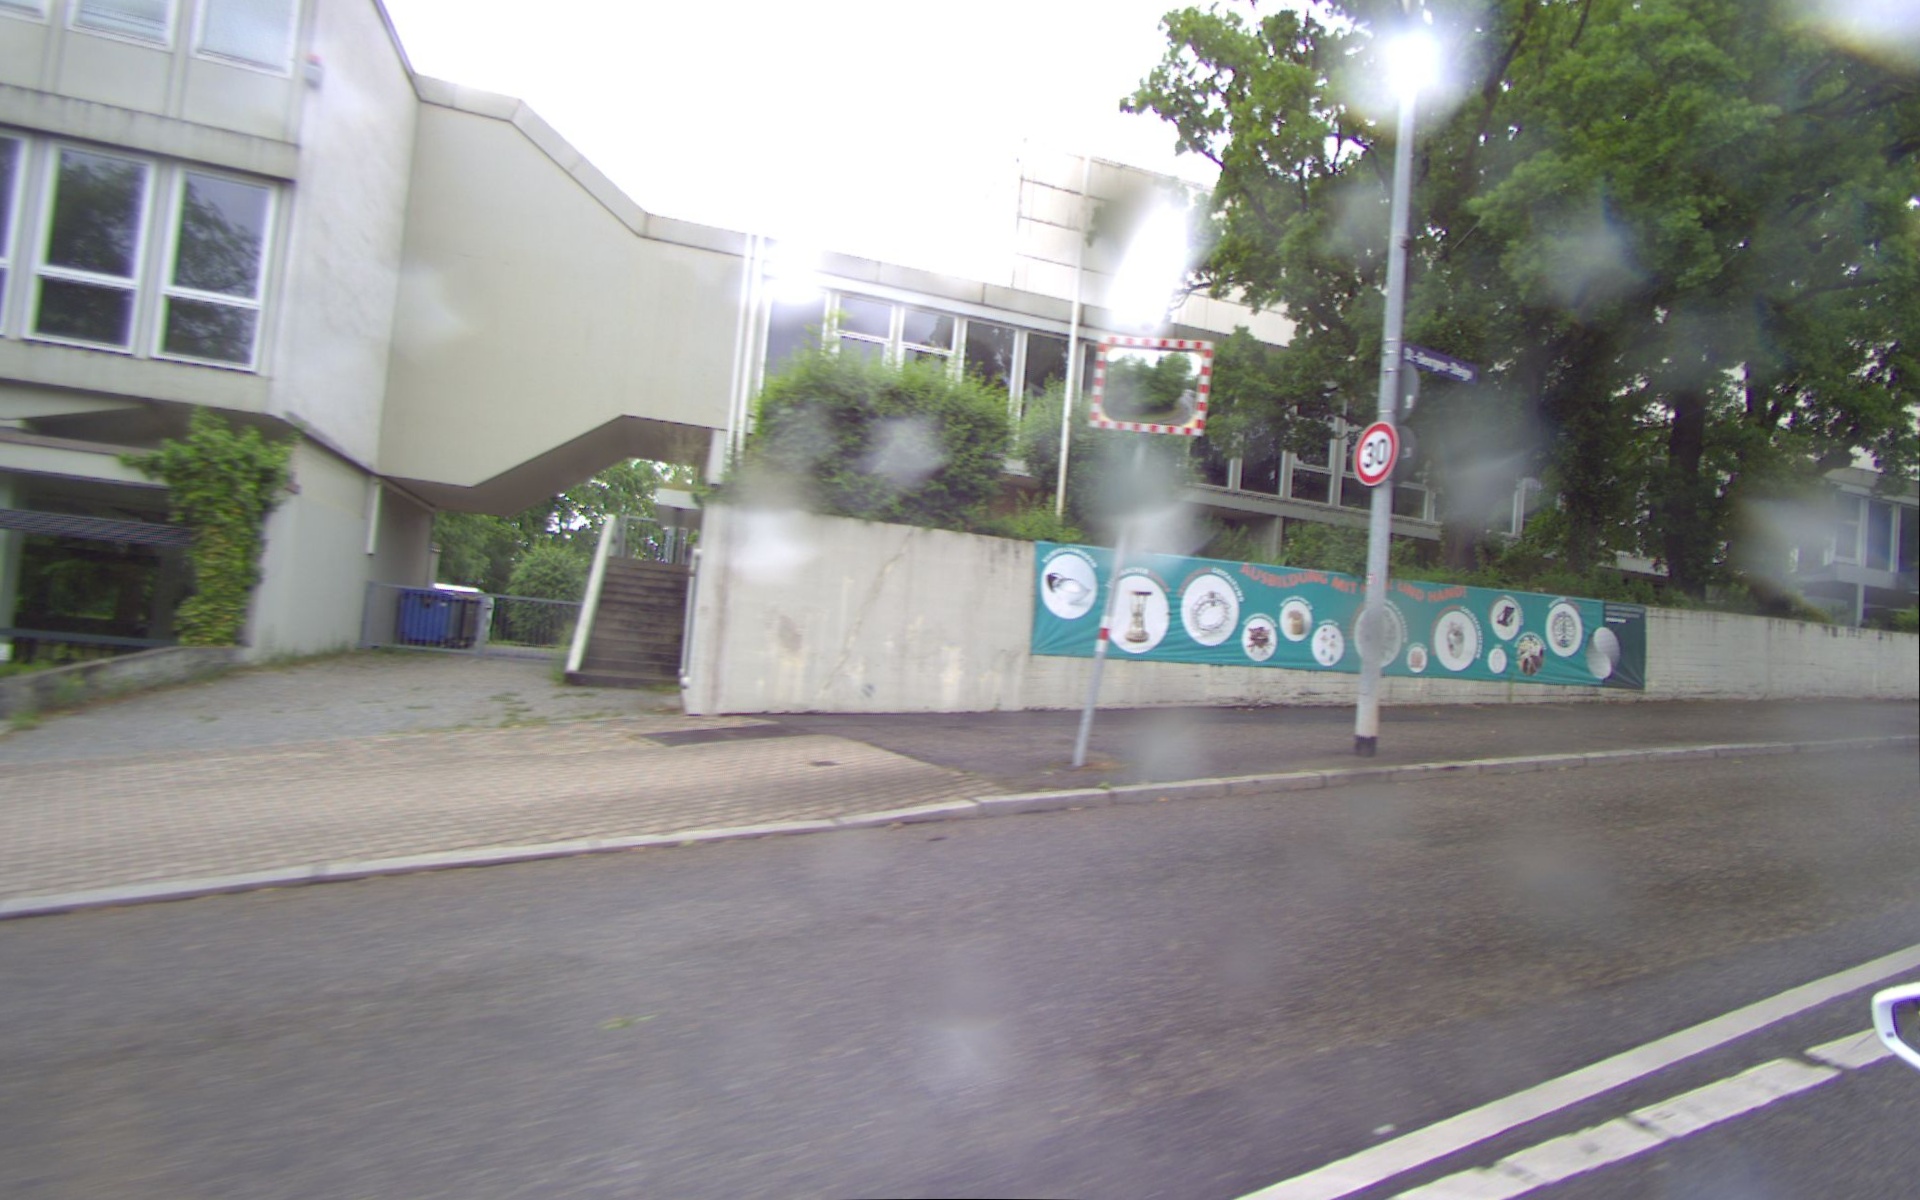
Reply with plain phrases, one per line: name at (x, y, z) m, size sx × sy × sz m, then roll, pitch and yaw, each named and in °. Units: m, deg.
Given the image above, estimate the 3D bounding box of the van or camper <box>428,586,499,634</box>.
van or camper at (-22.118, 0.439, 44.899) m, size 1.966 × 2.040 × 3.989 m, roll 1°, pitch 0°, yaw -13°

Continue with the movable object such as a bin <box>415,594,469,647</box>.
movable object such as a bin at (-11.707, 0.467, 22.722) m, size 0.998 × 1.163 × 0.466 m, roll 2°, pitch -1°, yaw -22°

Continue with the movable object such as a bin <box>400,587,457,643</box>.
movable object such as a bin at (-11.443, 0.321, 21.632) m, size 0.998 × 1.163 × 0.466 m, roll 2°, pitch -1°, yaw -22°

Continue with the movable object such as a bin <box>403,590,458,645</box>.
movable object such as a bin at (-11.658, 0.391, 22.134) m, size 0.998 × 1.163 × 0.466 m, roll 2°, pitch -1°, yaw -22°
